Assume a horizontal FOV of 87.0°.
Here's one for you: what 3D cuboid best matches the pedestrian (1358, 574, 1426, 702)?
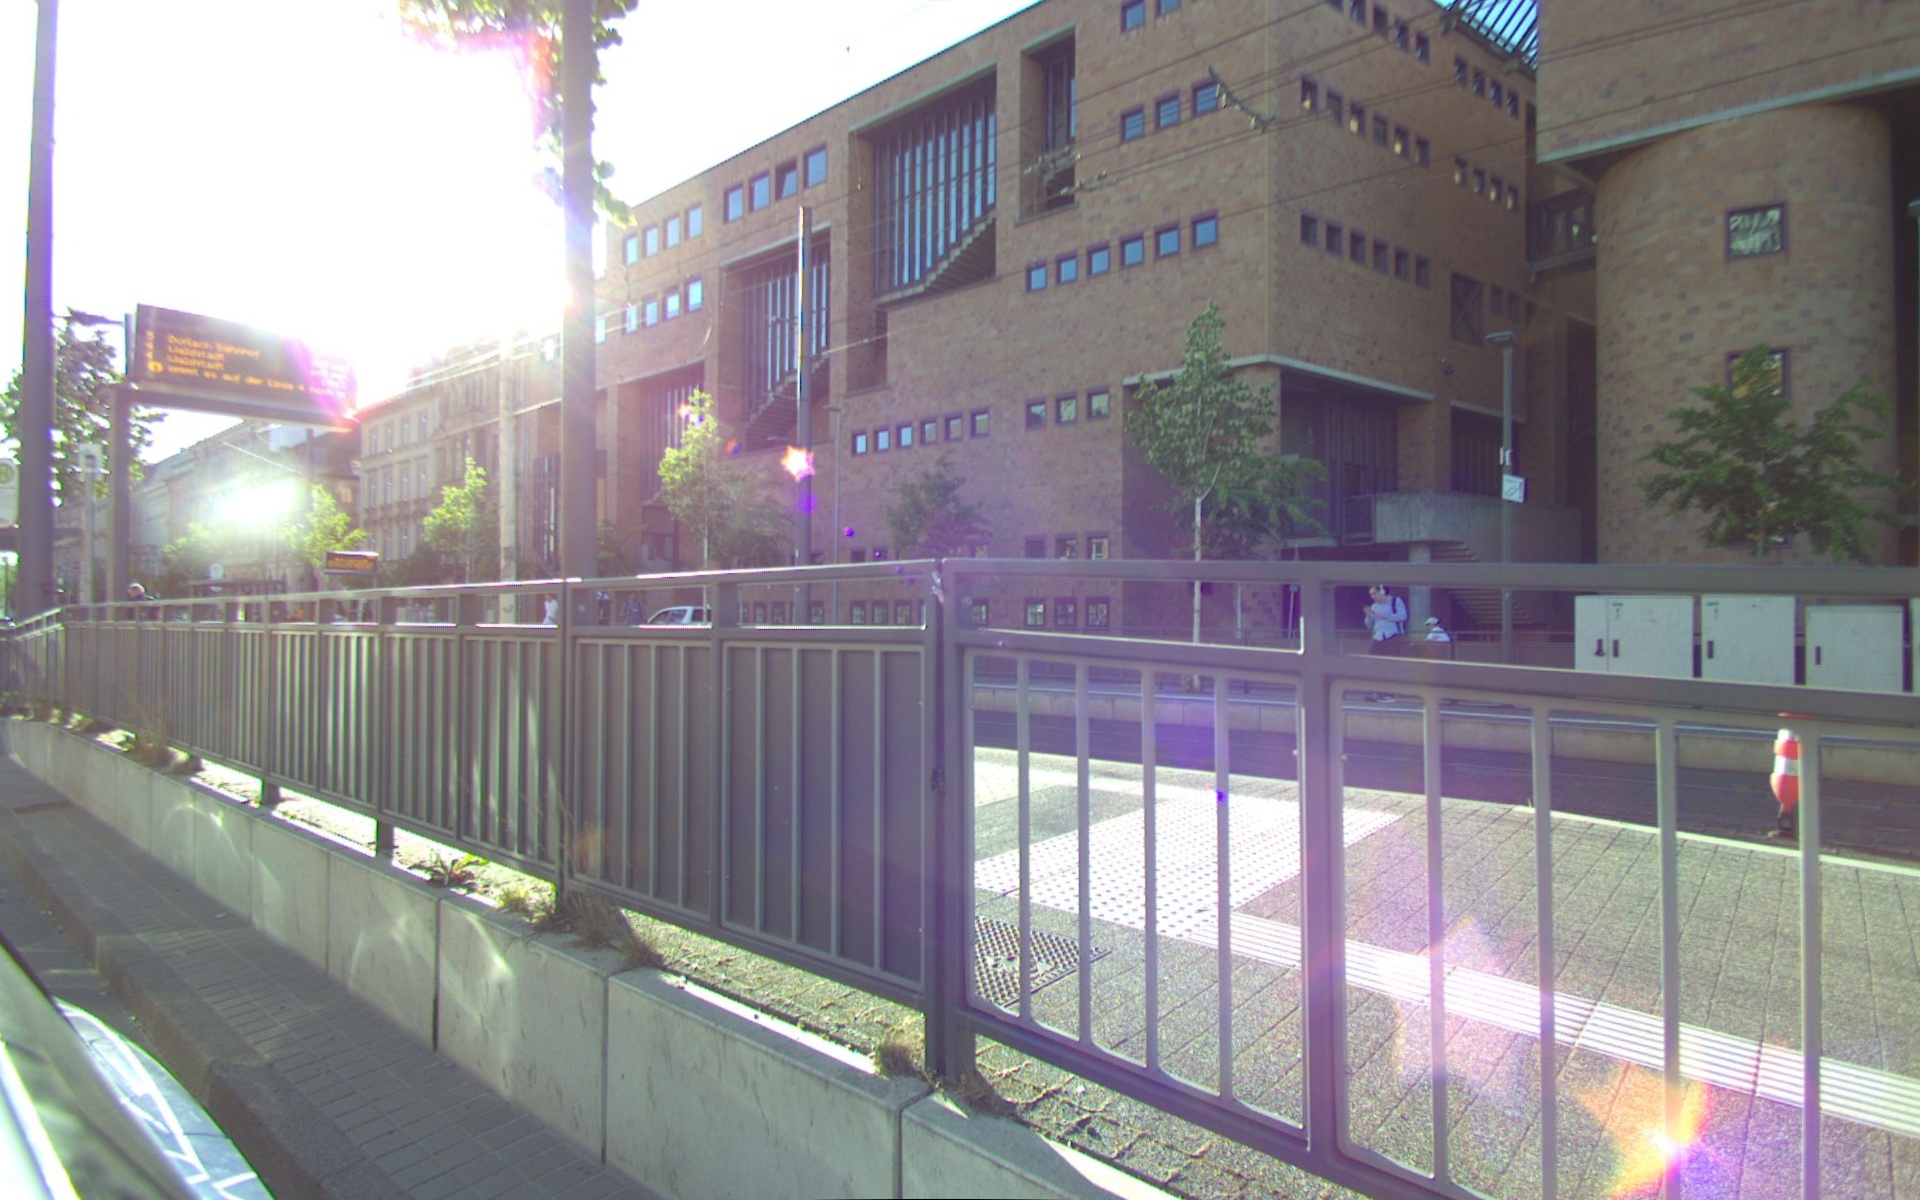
[{"bbox_3d":[5.759,0.492,13.482,0.684,1.647,0.660,0,0,37],"label":"pedestrian"}]

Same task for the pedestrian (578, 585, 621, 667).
[{"bbox_3d":[-8.137,0.574,22.840,0.668,1.821,0.677,0,0,40],"label":"pedestrian"}]

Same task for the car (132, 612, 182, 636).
[{"bbox_3d":[-54.084,1.588,68.163,4.238,1.580,1.806,0,-2,40],"label":"car"}]

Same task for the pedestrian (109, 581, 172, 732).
[{"bbox_3d":[-13.663,0.914,16.876,0.625,2.461,0.676,0,0,38],"label":"pedestrian"}]

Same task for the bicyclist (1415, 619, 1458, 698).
[{"bbox_3d":[9.634,1.159,20.448,0.650,1.545,0.580,0,0,41],"label":"bicyclist"}]

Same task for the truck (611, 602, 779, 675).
[{"bbox_3d":[-7.581,1.090,28.662,5.151,1.894,1.973,-2,-4,40],"label":"truck"}]
